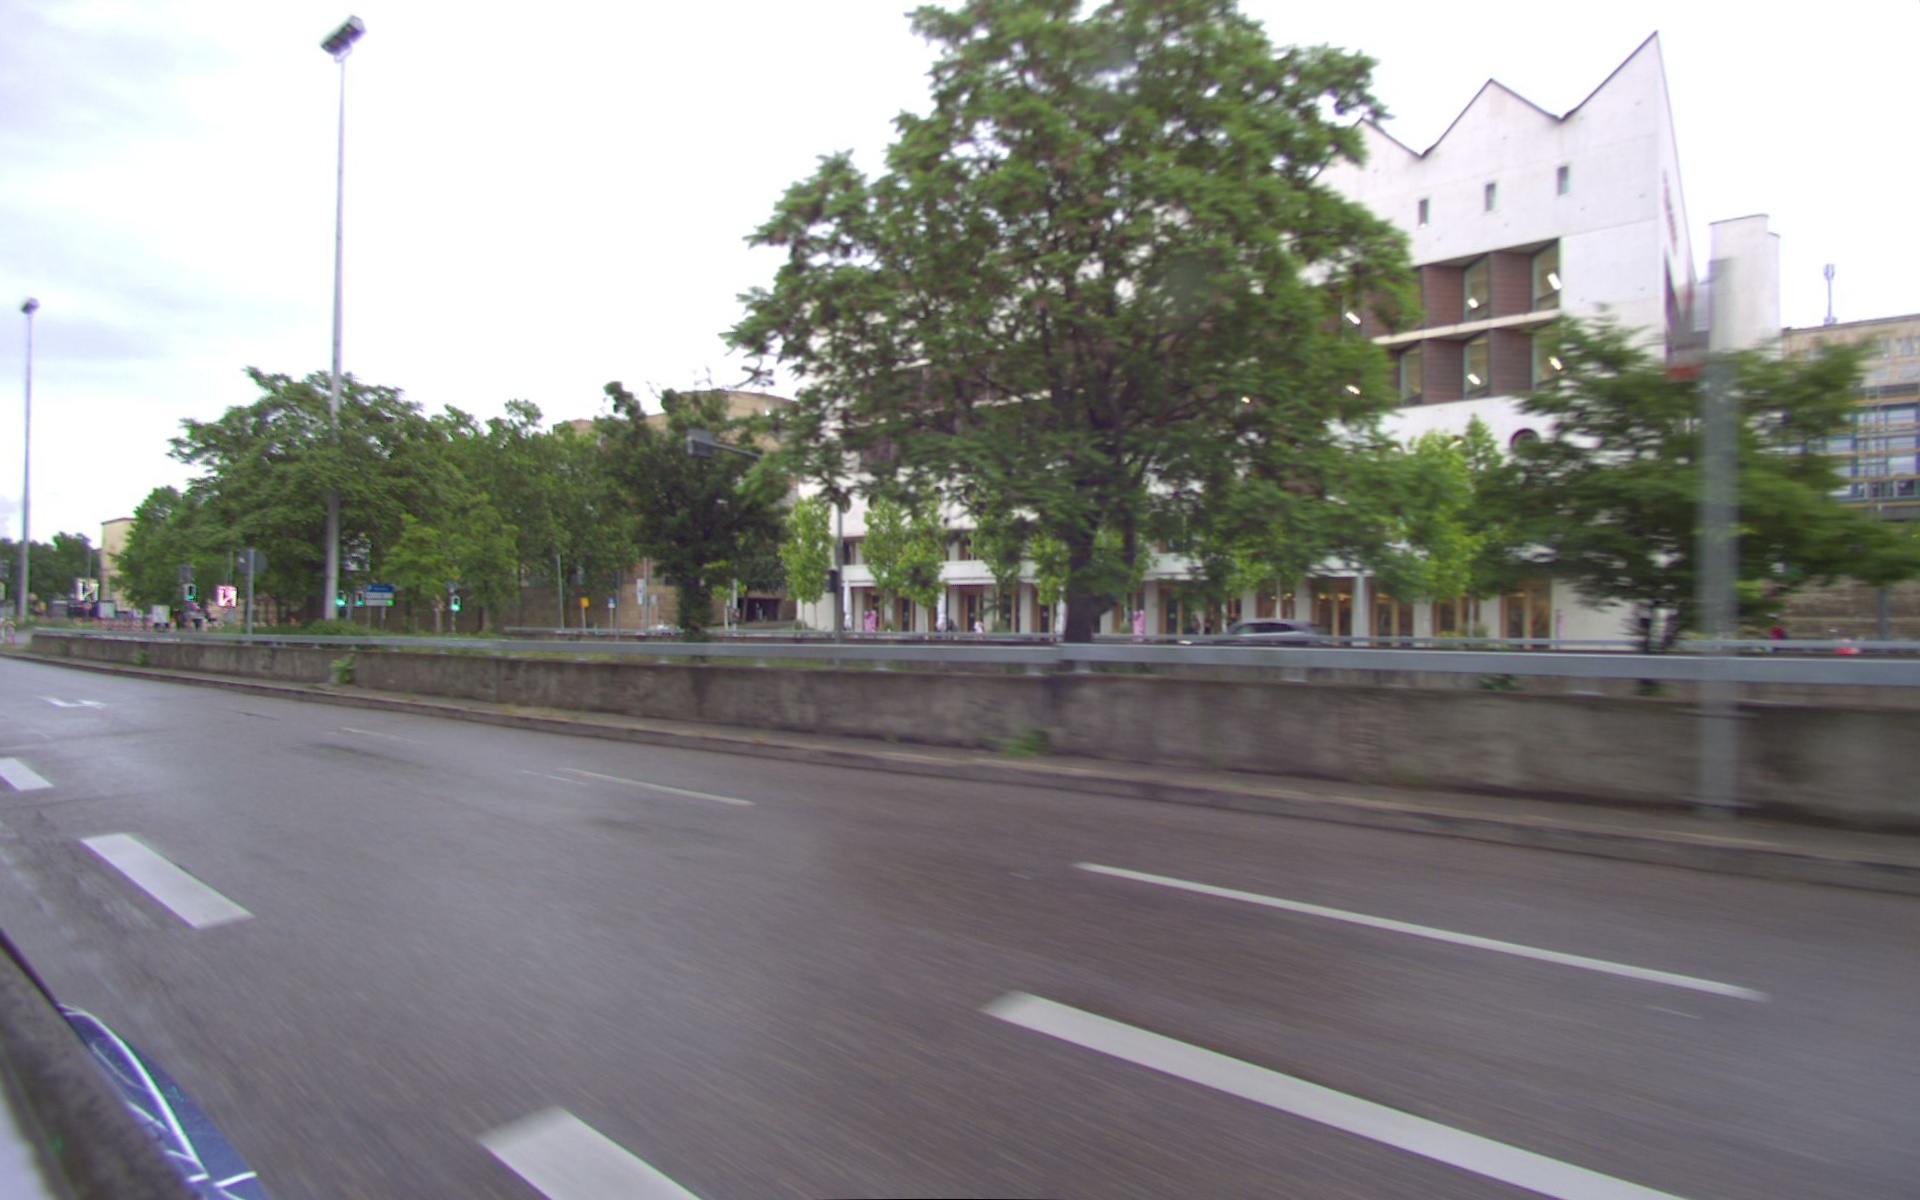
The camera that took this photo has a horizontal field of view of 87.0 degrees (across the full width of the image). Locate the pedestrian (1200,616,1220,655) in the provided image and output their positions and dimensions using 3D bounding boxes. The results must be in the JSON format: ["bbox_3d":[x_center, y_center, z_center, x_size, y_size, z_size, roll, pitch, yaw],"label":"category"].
[{"bbox_3d":[12.352,1.746,49.961,0.729,1.873,0.703,0,0,-8],"label":"pedestrian"}]

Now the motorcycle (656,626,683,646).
[{"bbox_3d":[-18.356,2.274,63.989,0.603,1.191,1.800,-1,0,26],"label":"motorcycle"}]

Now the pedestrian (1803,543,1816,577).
[{"bbox_3d":[39.775,-1.868,47.397,0.311,1.585,0.312,0,0,3],"label":"pedestrian"}]

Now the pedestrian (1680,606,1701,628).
[{"bbox_3d":[29.936,0.690,41.463,0.628,0.894,0.798,-1,0,41],"label":"pedestrian"}]

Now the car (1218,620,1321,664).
[{"bbox_3d":[9.631,1.286,31.514,2.816,1.287,1.283,0,0,35],"label":"car"}]

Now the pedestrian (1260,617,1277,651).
[{"bbox_3d":[14.788,1.624,48.494,0.696,1.639,0.735,0,0,21],"label":"pedestrian"}]

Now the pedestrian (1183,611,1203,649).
[{"bbox_3d":[11.538,1.495,50.189,0.729,1.873,0.703,0,0,-8],"label":"pedestrian"}]

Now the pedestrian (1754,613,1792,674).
[{"bbox_3d":[26.006,1.378,32.388,0.827,1.880,1.077,-1,0,33],"label":"pedestrian"}]
